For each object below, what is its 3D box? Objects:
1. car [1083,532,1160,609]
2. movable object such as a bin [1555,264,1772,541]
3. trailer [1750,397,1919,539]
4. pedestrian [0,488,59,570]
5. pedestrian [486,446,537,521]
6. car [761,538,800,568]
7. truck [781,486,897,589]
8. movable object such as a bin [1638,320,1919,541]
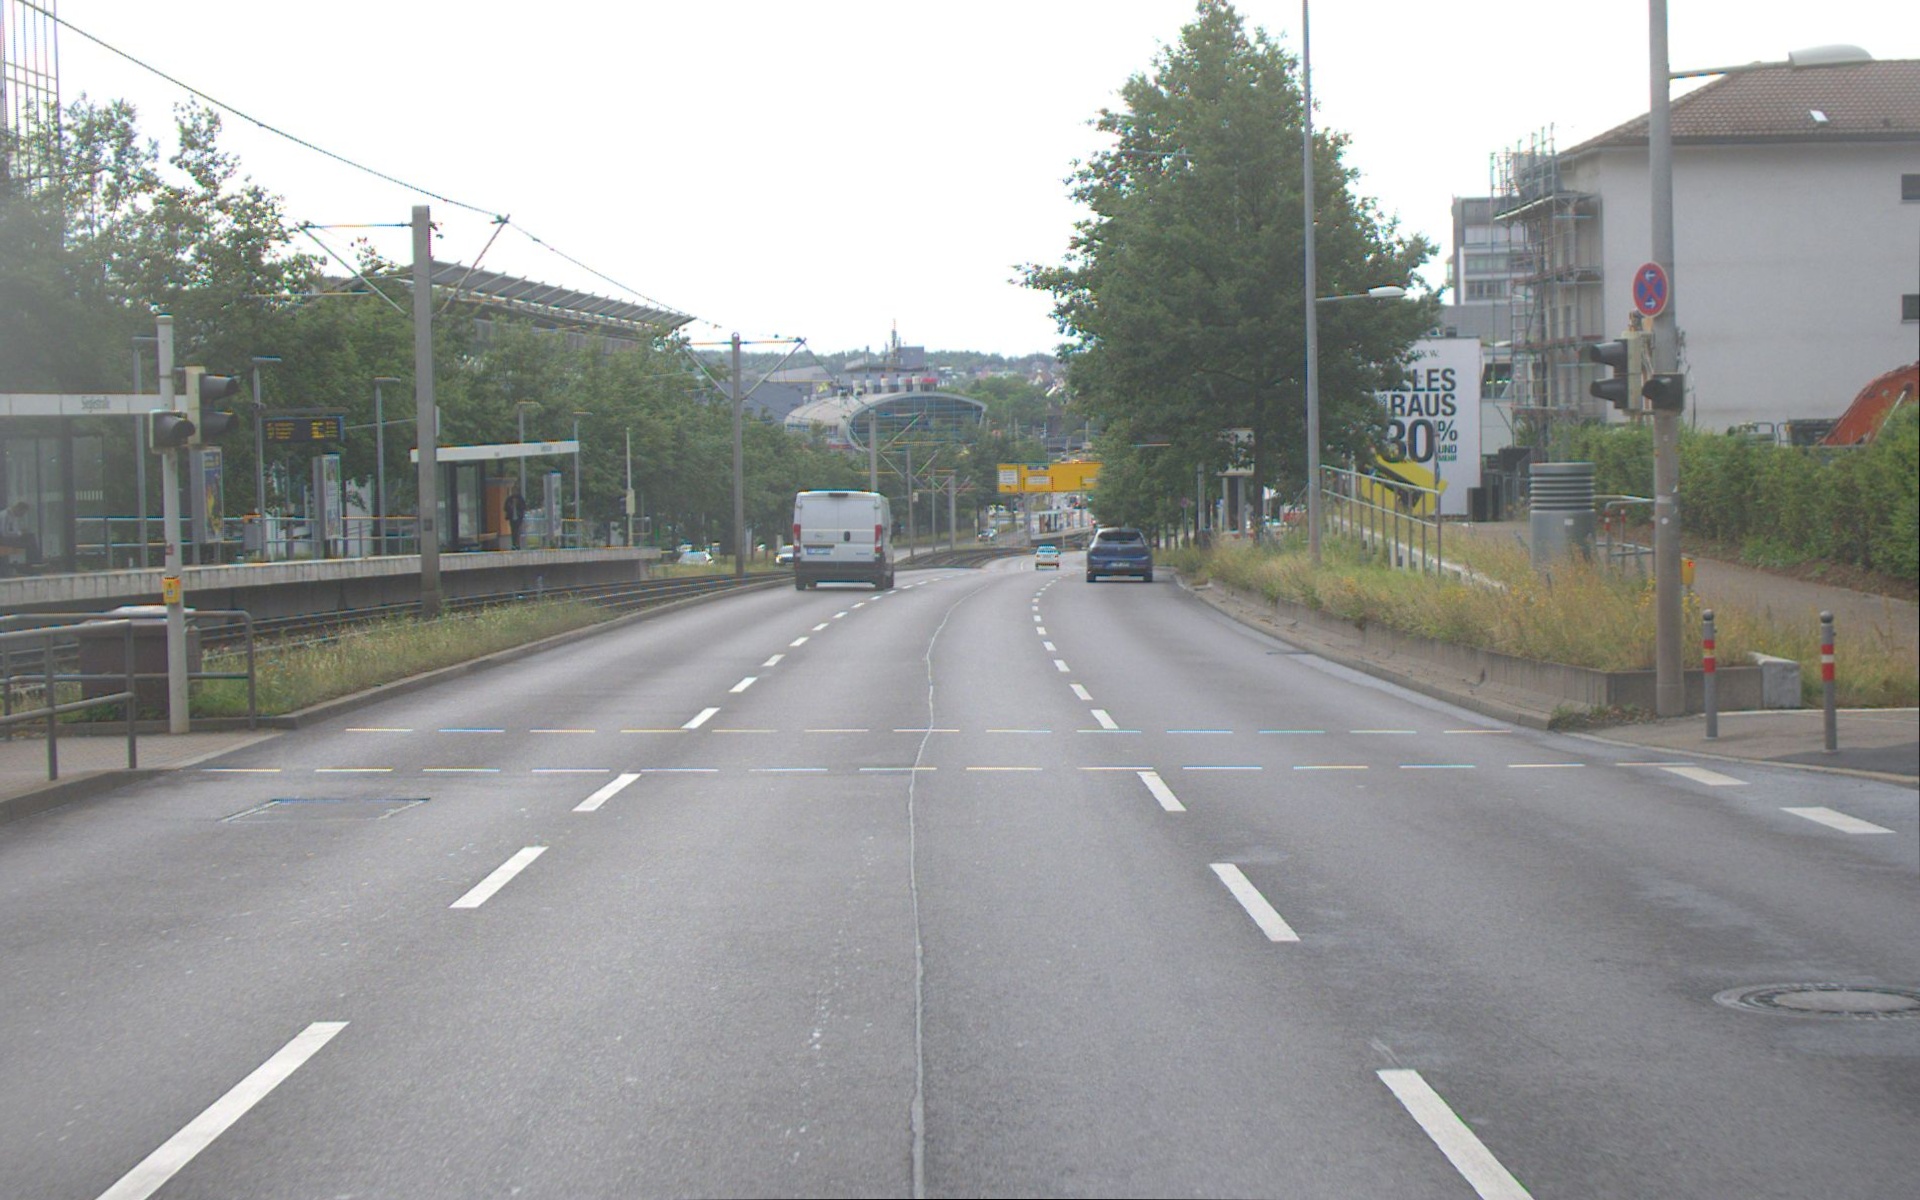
[{"bbox_3d":[4.331,-0.801,91.944,1.994,2.007,3.934,1,1,3],"label":"car"},{"bbox_3d":[15.313,-4.153,75.500,3.290,5.665,8.763,1,1,3],"label":"movable object such as a bin"},{"bbox_3d":[20.966,-2.892,76.744,2.637,3.032,7.500,0,1,-22],"label":"trailer"},{"bbox_3d":[-15.104,-1.147,55.398,0.961,1.295,0.684,-1,1,1],"label":"pedestrian"},{"bbox_3d":[-12.326,-3.191,94.403,1.266,2.007,1.130,1,1,-13],"label":"pedestrian"},{"bbox_3d":[-11.624,-3.066,223.245,1.994,1.840,5.002,-2,1,3],"label":"car"},{"bbox_3d":[-2.736,-1.422,79.053,2.360,2.254,5.306,1,1,1],"label":"truck"},{"bbox_3d":[23.506,-4.261,86.261,12.141,5.243,3.789,-1,1,1],"label":"movable object such as a bin"}]
